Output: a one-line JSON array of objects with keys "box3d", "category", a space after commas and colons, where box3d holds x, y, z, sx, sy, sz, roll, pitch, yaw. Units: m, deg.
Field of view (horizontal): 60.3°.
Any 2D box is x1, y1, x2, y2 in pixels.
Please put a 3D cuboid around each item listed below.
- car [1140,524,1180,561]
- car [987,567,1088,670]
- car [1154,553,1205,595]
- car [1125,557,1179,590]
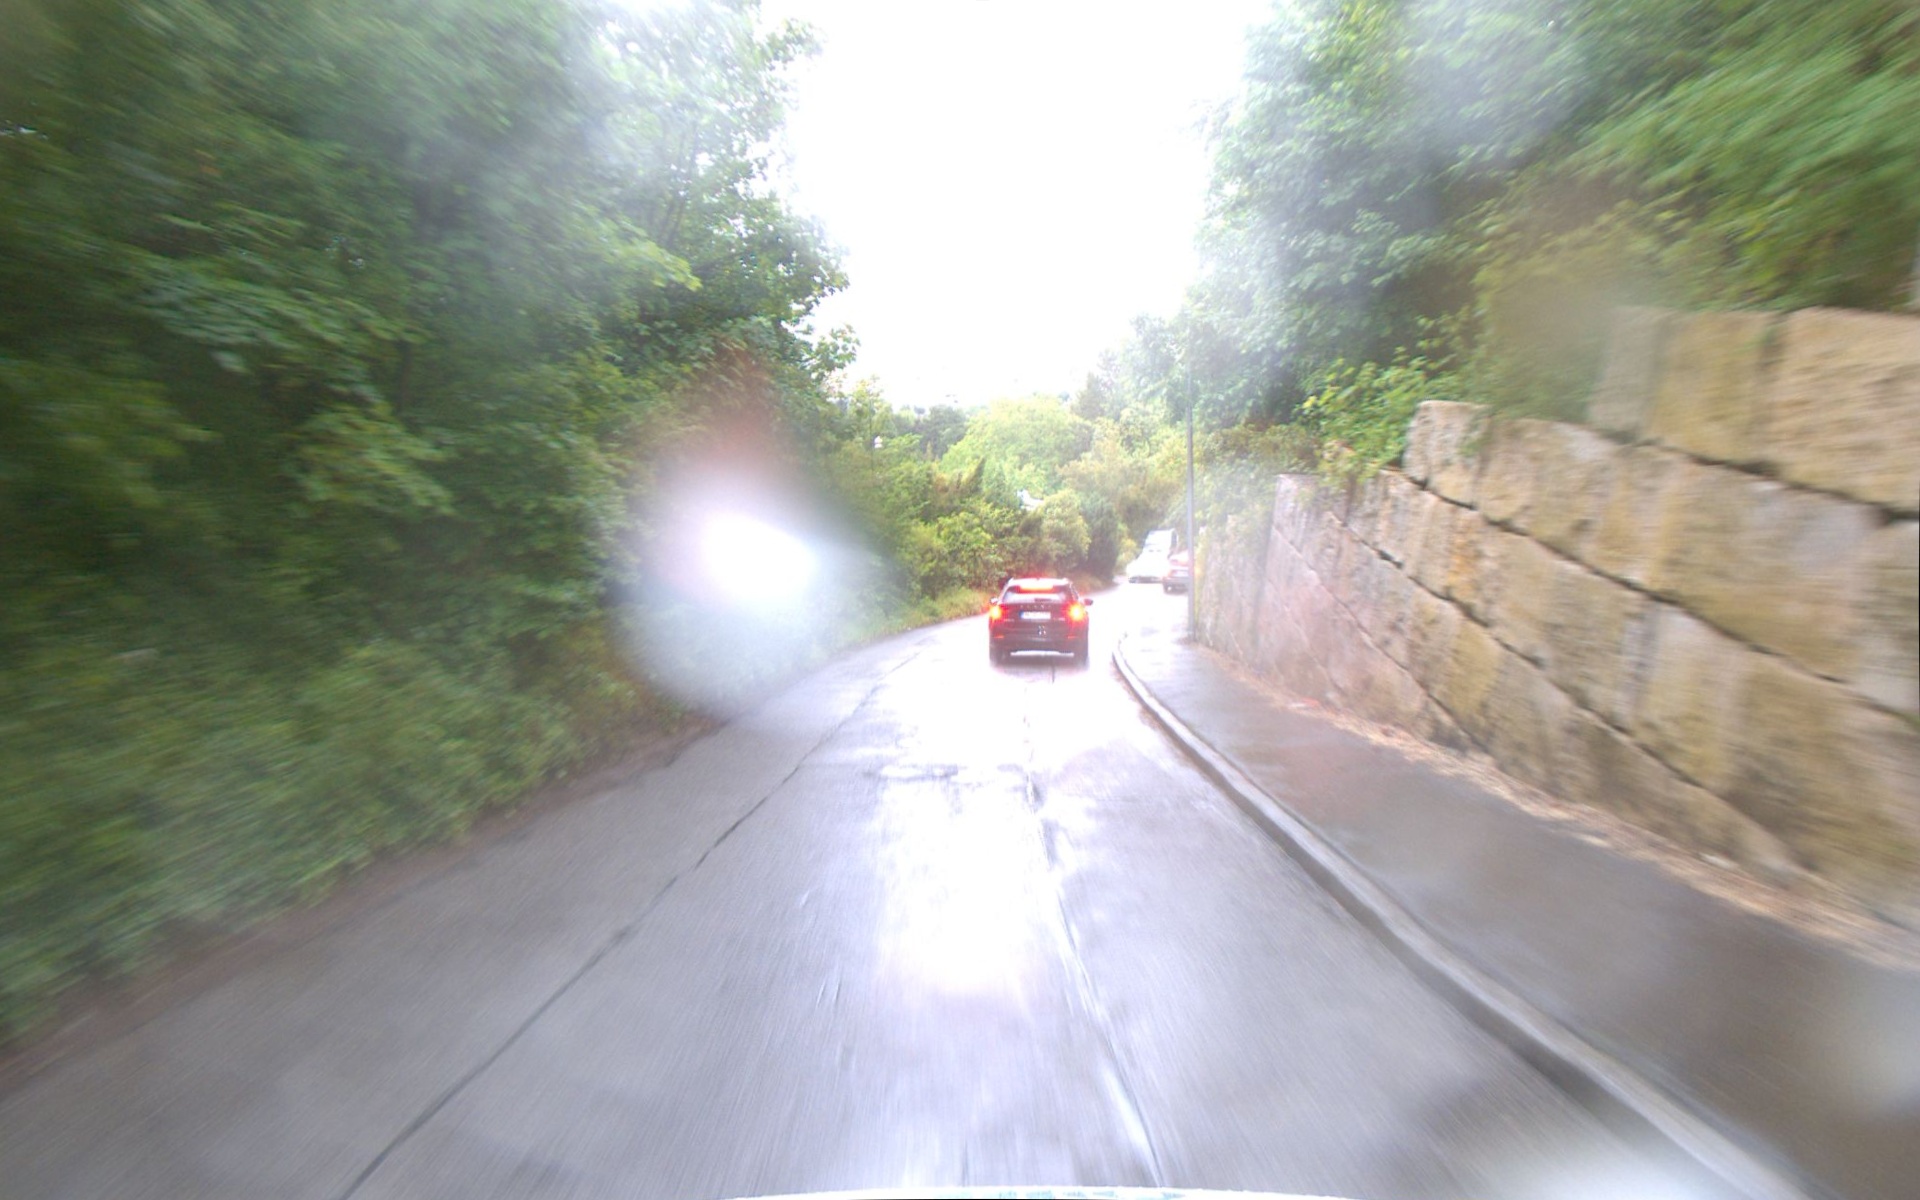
[{"box3d": [11.489, -3.309, 94.782, 1.653, 1.813, 4.238, 0, 5, 15], "category": "car"}, {"box3d": [1.476, 0.273, 30.259, 1.664, 1.474, 4.005, -1, 5, 5], "category": "car"}, {"box3d": [9.740, -1.158, 73.168, 1.823, 1.773, 4.004, 1, 1, 13], "category": "car"}, {"box3d": [9.459, -1.299, 81.114, 1.900, 1.548, 4.582, 1, 1, 16], "category": "car"}]
